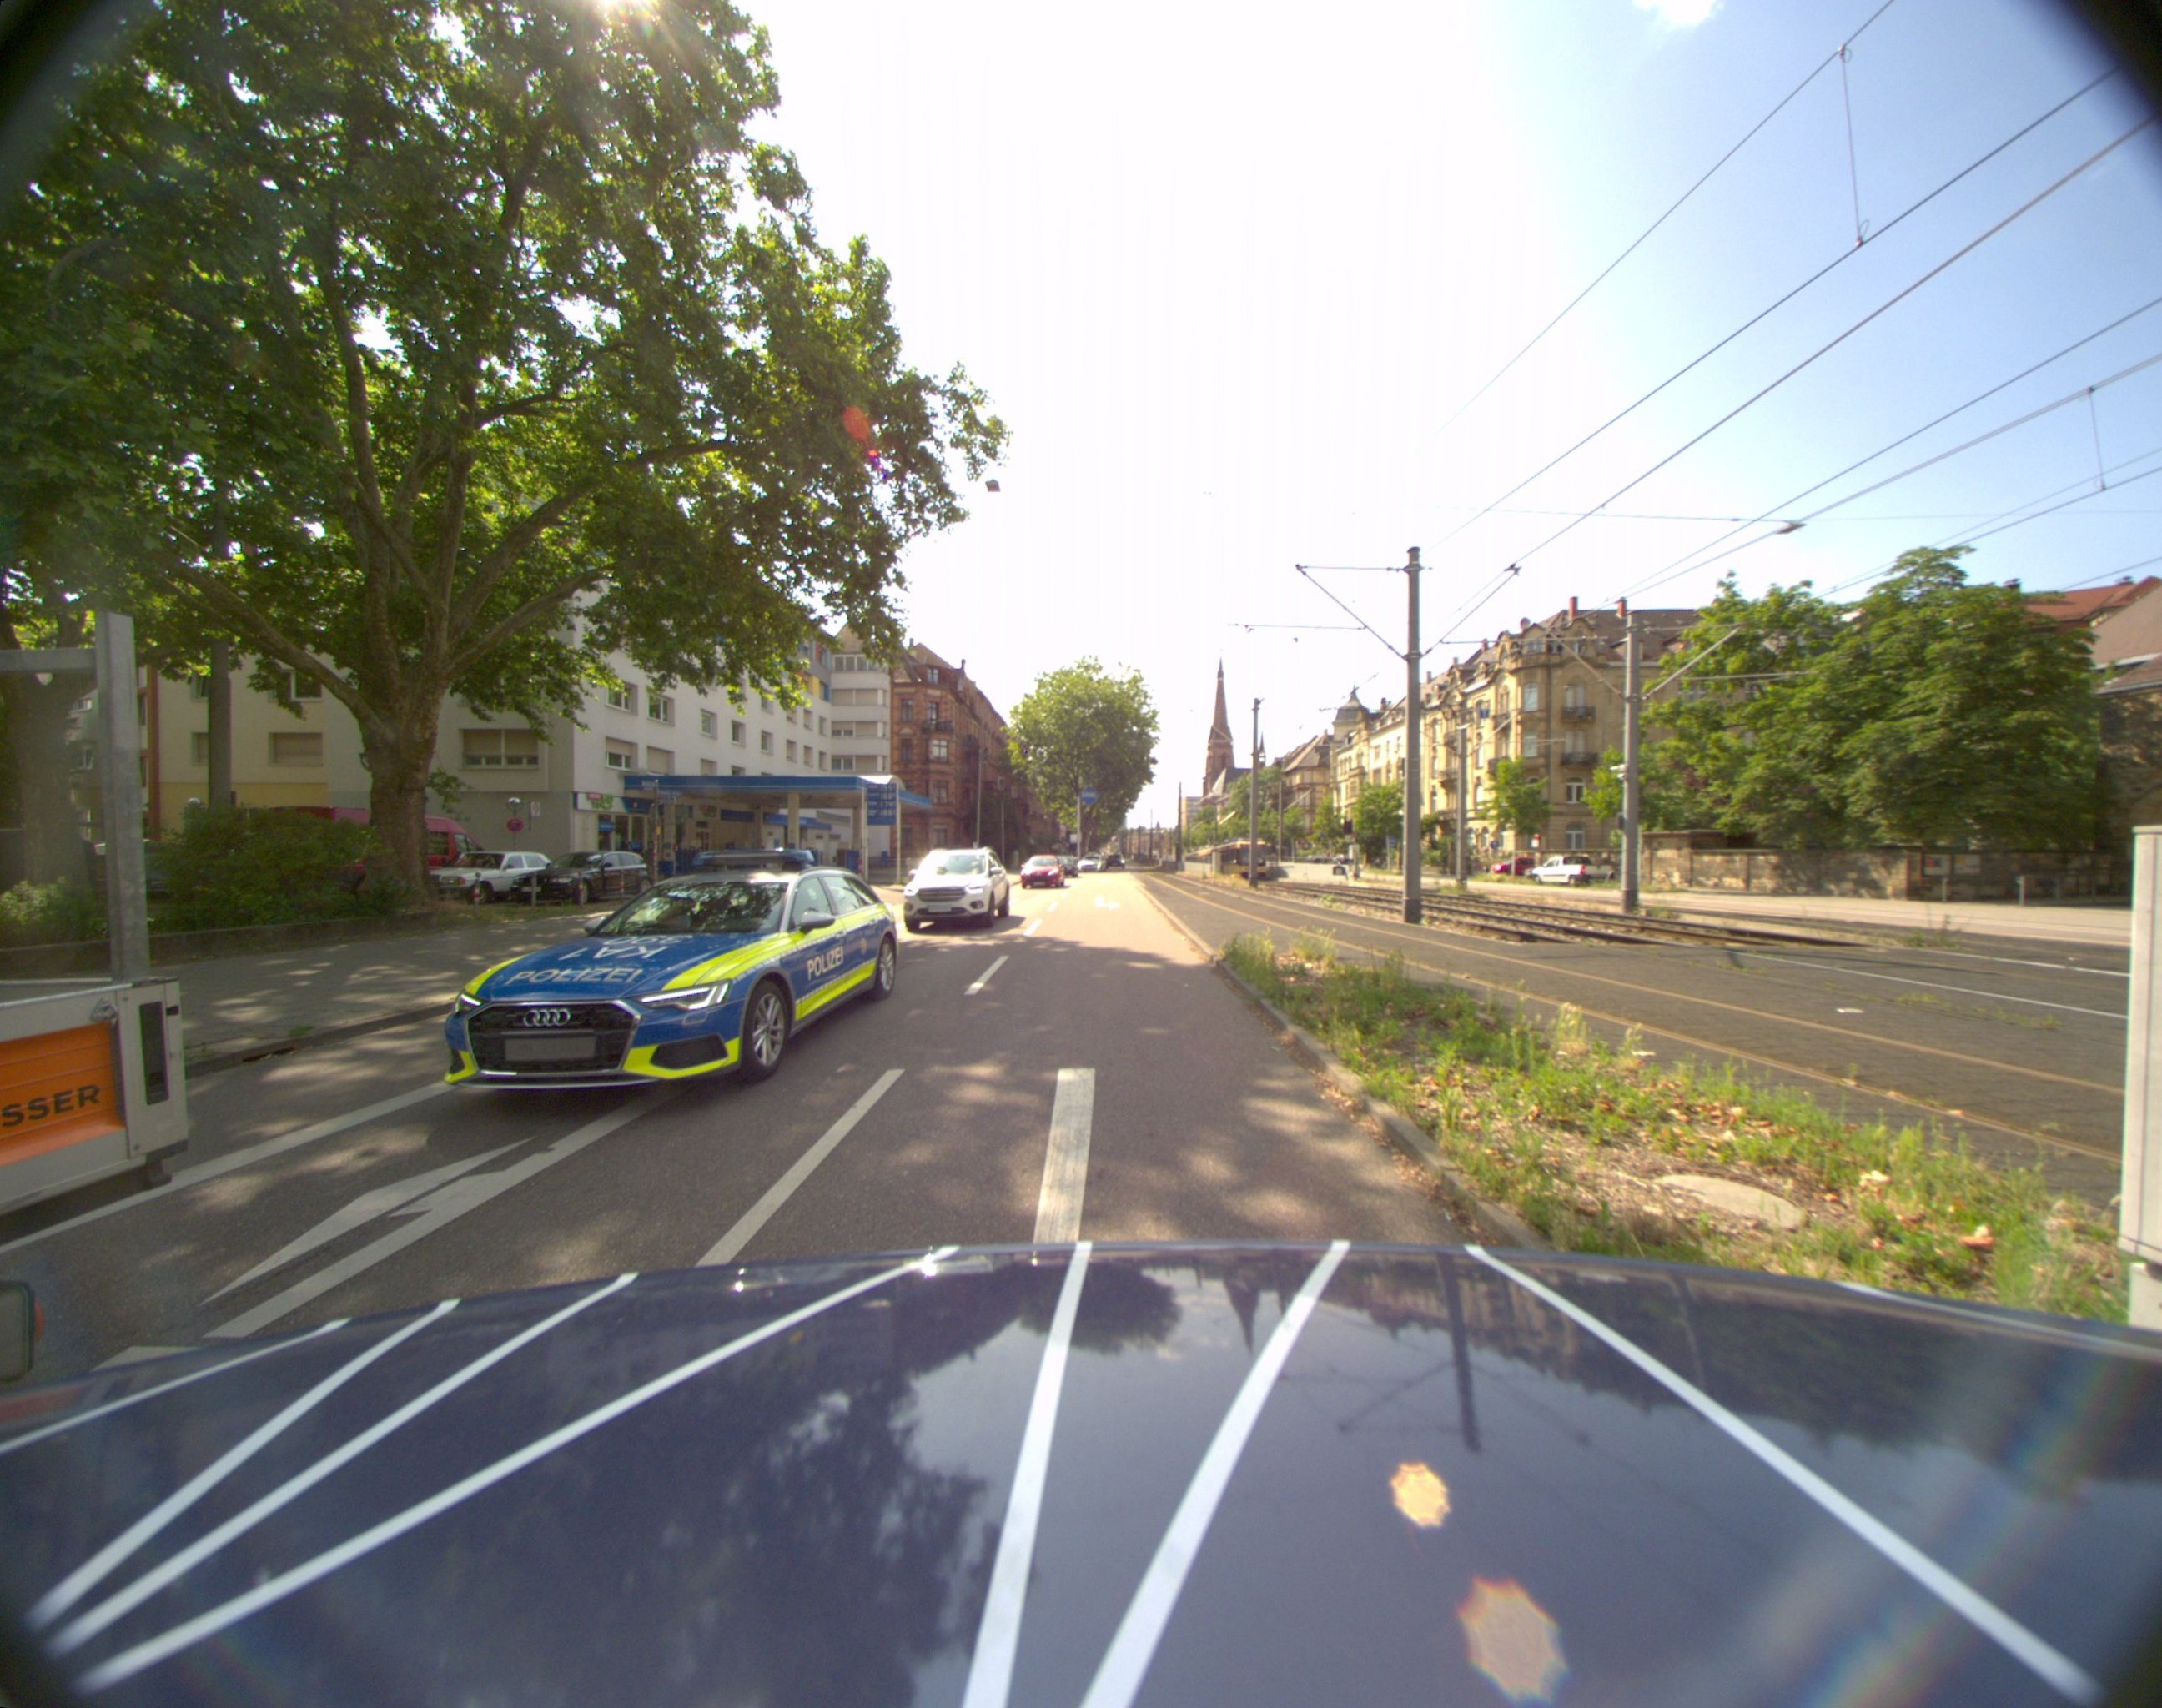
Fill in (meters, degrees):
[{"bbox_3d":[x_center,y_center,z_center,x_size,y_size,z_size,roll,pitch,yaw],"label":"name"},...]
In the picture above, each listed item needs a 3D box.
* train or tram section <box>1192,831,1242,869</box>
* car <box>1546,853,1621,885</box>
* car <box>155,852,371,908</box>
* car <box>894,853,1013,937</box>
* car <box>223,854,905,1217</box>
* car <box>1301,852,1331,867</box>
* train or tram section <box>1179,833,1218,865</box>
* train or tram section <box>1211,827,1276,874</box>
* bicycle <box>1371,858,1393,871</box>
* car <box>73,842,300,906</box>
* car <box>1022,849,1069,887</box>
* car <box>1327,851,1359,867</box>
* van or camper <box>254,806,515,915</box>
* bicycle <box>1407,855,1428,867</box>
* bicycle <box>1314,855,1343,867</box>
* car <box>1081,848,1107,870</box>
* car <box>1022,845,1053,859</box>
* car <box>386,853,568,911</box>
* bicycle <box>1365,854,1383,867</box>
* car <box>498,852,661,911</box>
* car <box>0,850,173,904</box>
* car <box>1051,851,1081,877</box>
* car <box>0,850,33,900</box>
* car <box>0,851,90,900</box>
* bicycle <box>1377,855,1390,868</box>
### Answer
[{"bbox_3d":[13.624,-0.450,77.173,2.860,3.559,12.834,0,1,1],"label":"train or tram section"},{"bbox_3d":[24.932,0.690,37.884,1.671,1.408,3.846,2,1,10],"label":"car"},{"bbox_3d":[-21.993,0.624,20.694,1.477,1.286,3.999,-2,1,1],"label":"car"},{"bbox_3d":[-2.728,0.804,17.352,1.764,1.597,4.679,-2,0,1],"label":"car"},{"bbox_3d":[-3.067,0.878,6.205,1.871,1.643,5.153,-1,1,2],"label":"car"},{"bbox_3d":[25.948,0.551,84.145,1.803,1.518,4.488,-2,1,-2],"label":"car"},{"bbox_3d":[13.769,-0.611,90.062,2.860,3.559,12.834,0,1,1],"label":"train or tram section"},{"bbox_3d":[13.465,-0.298,64.343,2.860,3.559,12.834,0,1,1],"label":"train or tram section"},{"bbox_3d":[25.801,0.873,65.039,1.710,1.063,0.471,0,1,-4],"label":"bicycle"},{"bbox_3d":[-24.661,0.492,21.199,1.529,1.595,3.999,-1,1,1],"label":"car"},{"bbox_3d":[-1.523,0.569,34.316,1.764,1.597,4.679,0,1,1],"label":"car"},{"bbox_3d":[25.517,0.491,74.132,1.690,1.494,4.708,0,1,2],"label":"car"},{"bbox_3d":[-19.134,0.132,21.379,2.107,2.626,5.350,-2,1,3],"label":"van or camper"},{"bbox_3d":[30.507,0.639,68.892,1.710,1.063,0.471,-3,1,-4],"label":"bicycle"},{"bbox_3d":[26.243,0.729,80.618,2.957,1.239,0.792,0,1,-11],"label":"bicycle"},{"bbox_3d":[1.060,0.367,60.580,1.952,1.598,5.075,0,2,1],"label":"car"},{"bbox_3d":[-6.349,-0.313,111.170,4.412,1.907,2.000,1,1,0],"label":"car"},{"bbox_3d":[-16.299,0.686,20.808,1.756,1.402,3.999,0,1,1],"label":"car"},{"bbox_3d":[29.036,0.596,75.277,0.659,1.241,2.943,-2,0,2],"label":"bicycle"},{"bbox_3d":[-13.567,0.683,20.877,1.756,1.402,3.999,0,1,1],"label":"car"},{"bbox_3d":[-28.277,0.610,20.862,1.766,1.356,3.999,-2,1,1],"label":"car"},{"bbox_3d":[-0.932,0.610,48.725,1.764,1.490,4.187,0,1,1],"label":"car"},{"bbox_3d":[-33.410,0.672,21.582,1.663,1.511,3.999,-2,1,1],"label":"car"},{"bbox_3d":[-30.771,0.635,20.870,1.766,1.356,3.999,-2,1,1],"label":"car"},{"bbox_3d":[28.847,0.693,72.427,0.428,1.133,2.023,-2,0,2],"label":"bicycle"}]
